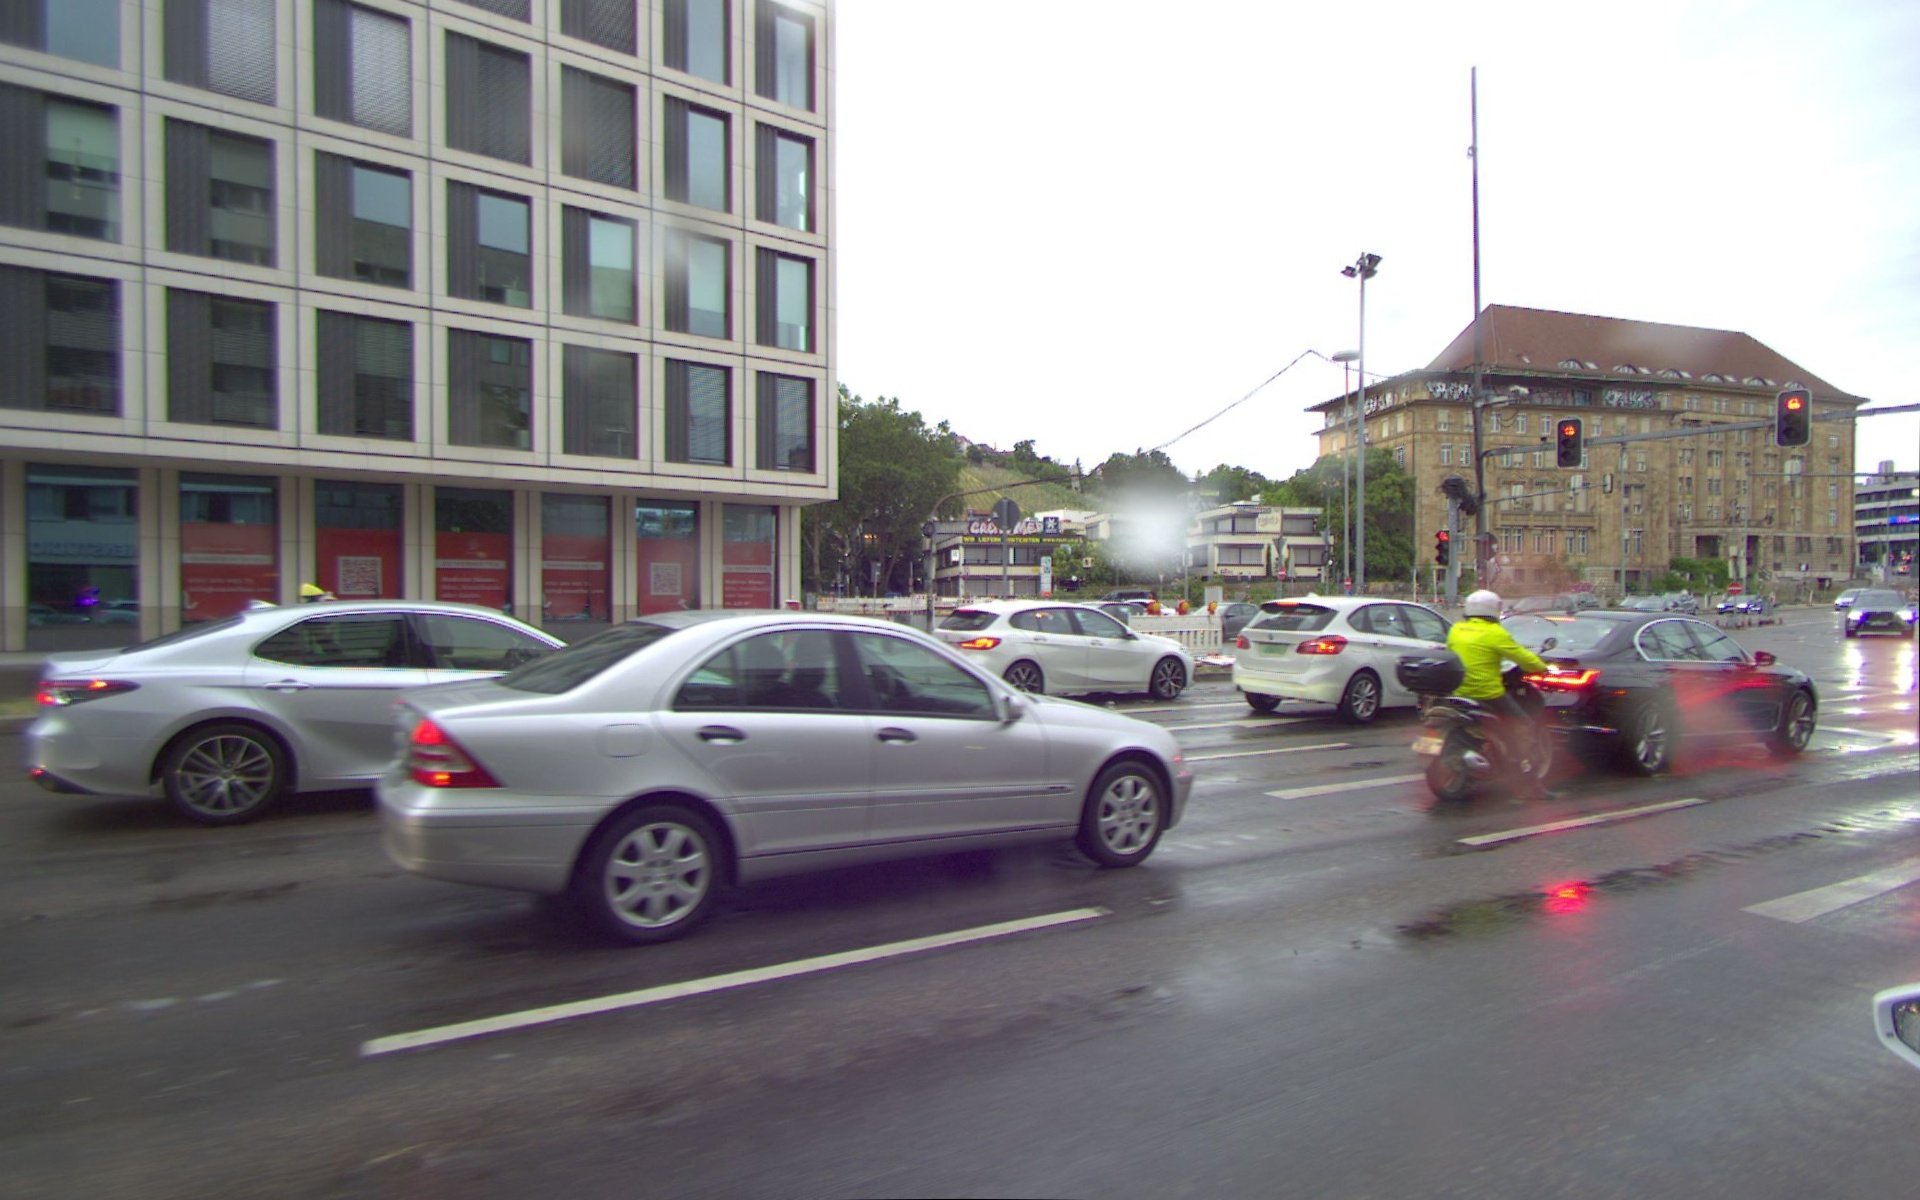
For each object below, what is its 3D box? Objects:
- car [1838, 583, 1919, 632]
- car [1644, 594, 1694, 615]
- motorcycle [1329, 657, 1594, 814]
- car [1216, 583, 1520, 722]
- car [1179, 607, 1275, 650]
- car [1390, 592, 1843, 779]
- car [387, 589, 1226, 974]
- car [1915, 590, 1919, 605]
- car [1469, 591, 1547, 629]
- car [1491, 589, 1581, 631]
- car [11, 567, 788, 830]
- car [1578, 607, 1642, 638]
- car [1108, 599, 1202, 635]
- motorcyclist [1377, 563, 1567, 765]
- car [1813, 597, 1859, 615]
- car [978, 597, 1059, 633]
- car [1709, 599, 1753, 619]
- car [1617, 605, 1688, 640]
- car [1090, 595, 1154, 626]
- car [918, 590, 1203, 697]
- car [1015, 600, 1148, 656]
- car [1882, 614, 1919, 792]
[{"bbox_3d":[37.059,0.332,40.359,5.063,1.821,1.976,2,0,-41],"label":"car"},{"bbox_3d":[46.768,0.320,66.214,3.964,1.277,1.611,2,0,-38],"label":"car"},{"bbox_3d":[4.075,1.009,8.095,2.271,1.002,0.935,1,1,-35],"label":"motorcycle"},{"bbox_3d":[5.583,0.669,13.664,3.952,1.637,1.725,2,0,-30],"label":"car"},{"bbox_3d":[10.063,1.079,37.752,3.657,1.539,1.684,1,-2,-39],"label":"car"},{"bbox_3d":[6.914,0.777,10.440,4.943,1.535,1.878,2,0,-30],"label":"car"},{"bbox_3d":[-0.688,0.733,5.654,4.335,1.422,1.723,2,0,-32],"label":"car"},{"bbox_3d":[86.299,-0.165,89.021,3.962,1.277,1.755,2,0,-36],"label":"car"},{"bbox_3d":[24.921,0.486,45.632,3.965,1.595,1.684,2,0,-38],"label":"car"},{"bbox_3d":[23.550,0.421,41.032,4.039,1.595,1.787,2,0,-38],"label":"car"},{"bbox_3d":[-3.932,0.626,7.870,4.744,1.541,1.822,2,0,-30],"label":"car"},{"bbox_3d":[33.769,1.179,52.163,3.521,1.539,1.686,1,-2,-37],"label":"car"},{"bbox_3d":[10.038,0.852,51.941,4.326,1.684,1.992,2,0,38],"label":"car"},{"bbox_3d":[4.130,0.480,8.119,1.089,1.495,0.935,2,1,-35],"label":"motorcyclist"},{"bbox_3d":[66.738,0.468,76.547,4.154,1.277,1.755,2,0,-36],"label":"car"},{"bbox_3d":[2.915,0.752,50.603,1.664,1.617,3.948,2,0,-43],"label":"car"},{"bbox_3d":[55.168,0.643,71.895,3.300,1.277,1.724,2,0,-38],"label":"car"},{"bbox_3d":[33.361,1.094,48.345,3.965,1.595,1.684,2,0,-38],"label":"car"},{"bbox_3d":[11.827,0.766,73.315,4.156,2.040,1.993,2,0,36],"label":"car"},{"bbox_3d":[1.532,0.625,15.023,3.946,1.391,1.775,2,0,-30],"label":"car"},{"bbox_3d":[3.650,0.834,29.849,3.838,1.539,1.686,1,-2,-37],"label":"car"},{"bbox_3d":[10.012,0.841,8.618,4.431,1.421,1.775,0,1,-29],"label":"car"}]
